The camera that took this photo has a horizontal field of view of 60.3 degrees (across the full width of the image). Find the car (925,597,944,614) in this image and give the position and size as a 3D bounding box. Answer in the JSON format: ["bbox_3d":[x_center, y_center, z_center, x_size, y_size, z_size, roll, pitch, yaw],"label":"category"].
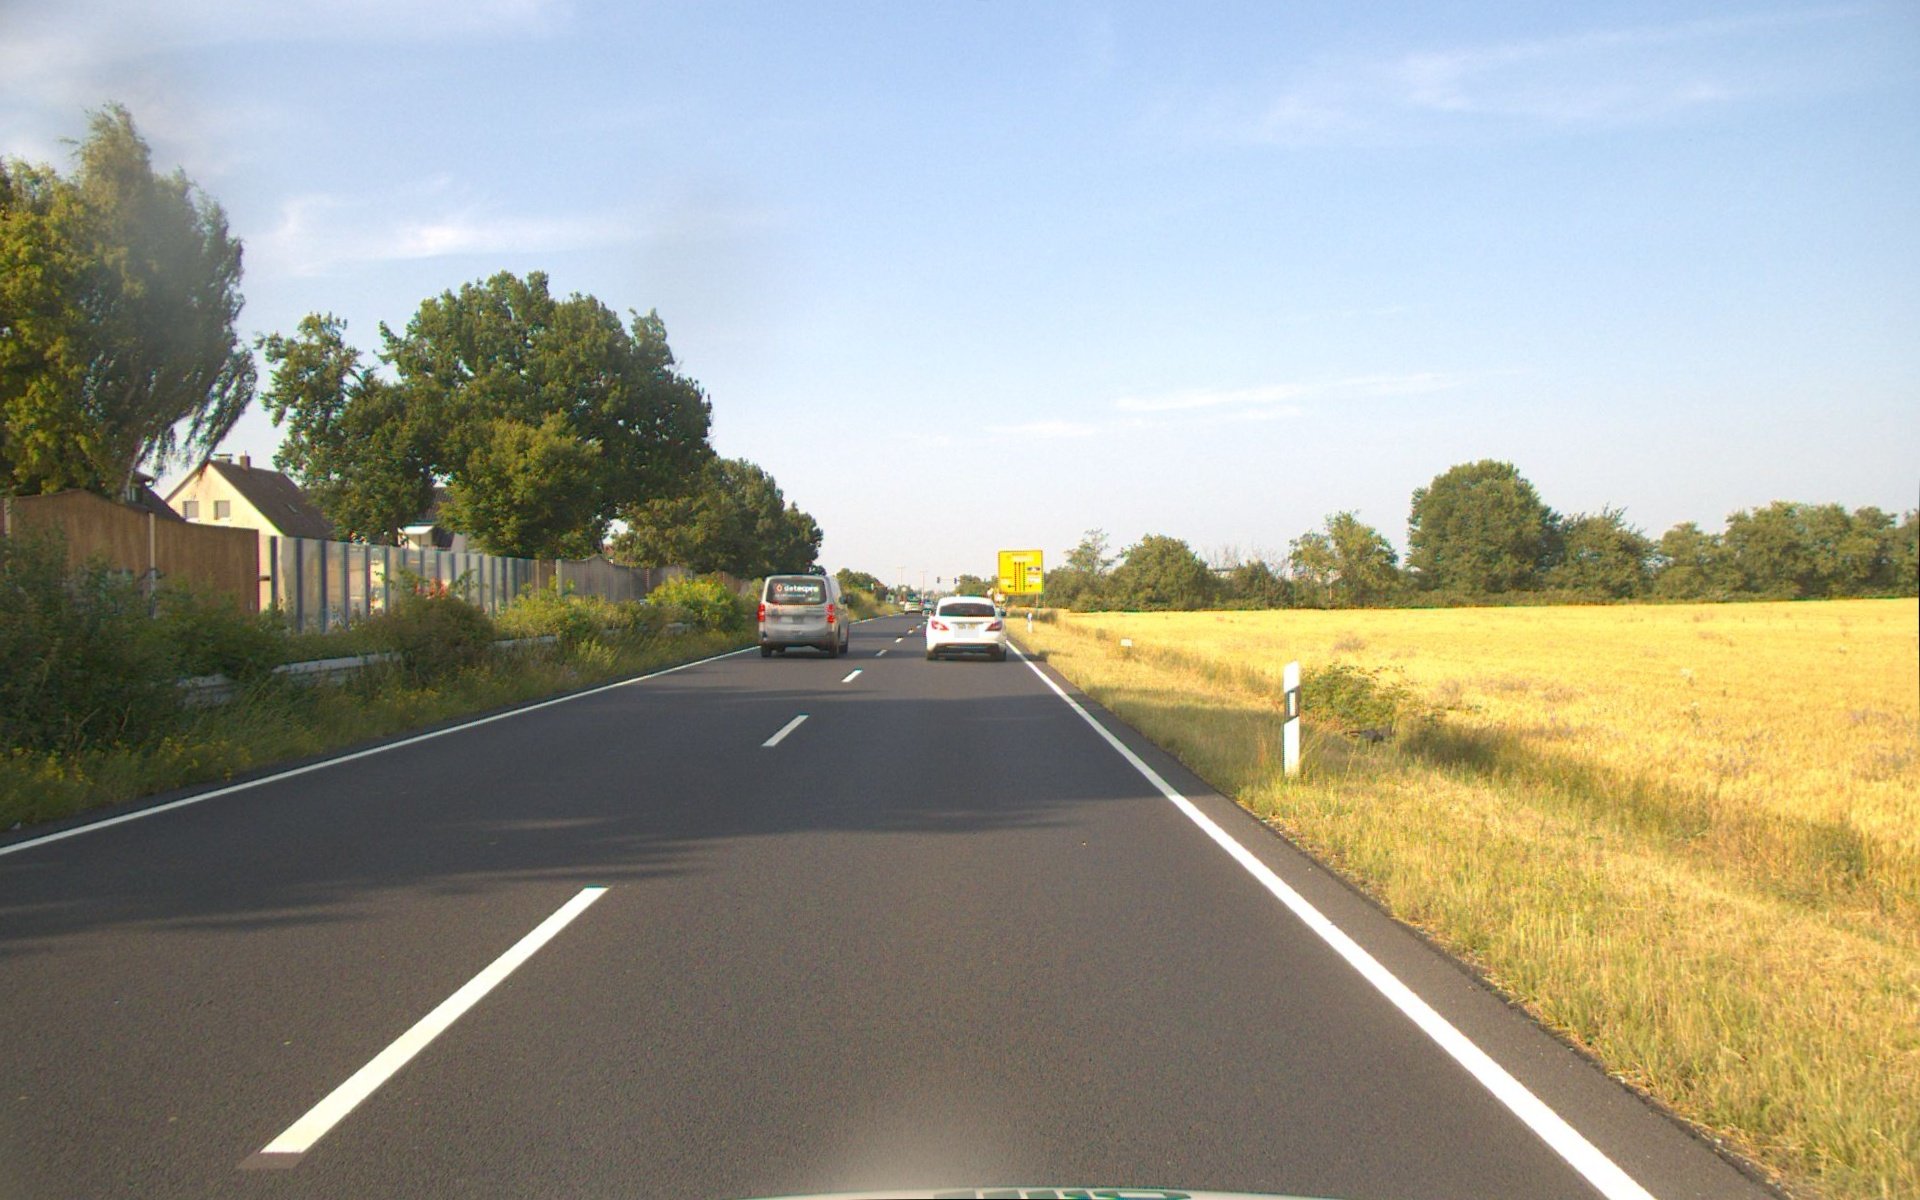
[{"bbox_3d":[-2.599,0.564,169.458,1.839,1.680,3.663,1,0,-2],"label":"car"}]

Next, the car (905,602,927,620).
[{"bbox_3d":[-3.747,0.924,141.237,1.682,1.518,3.584,1,0,0],"label":"car"}]

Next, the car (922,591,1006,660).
[{"bbox_3d":[0.074,0.575,38.787,1.856,1.535,3.999,0,0,-1],"label":"car"}]

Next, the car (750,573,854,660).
[{"bbox_3d":[-3.732,0.359,39.888,1.984,1.925,4.958,1,0,0],"label":"car"}]
